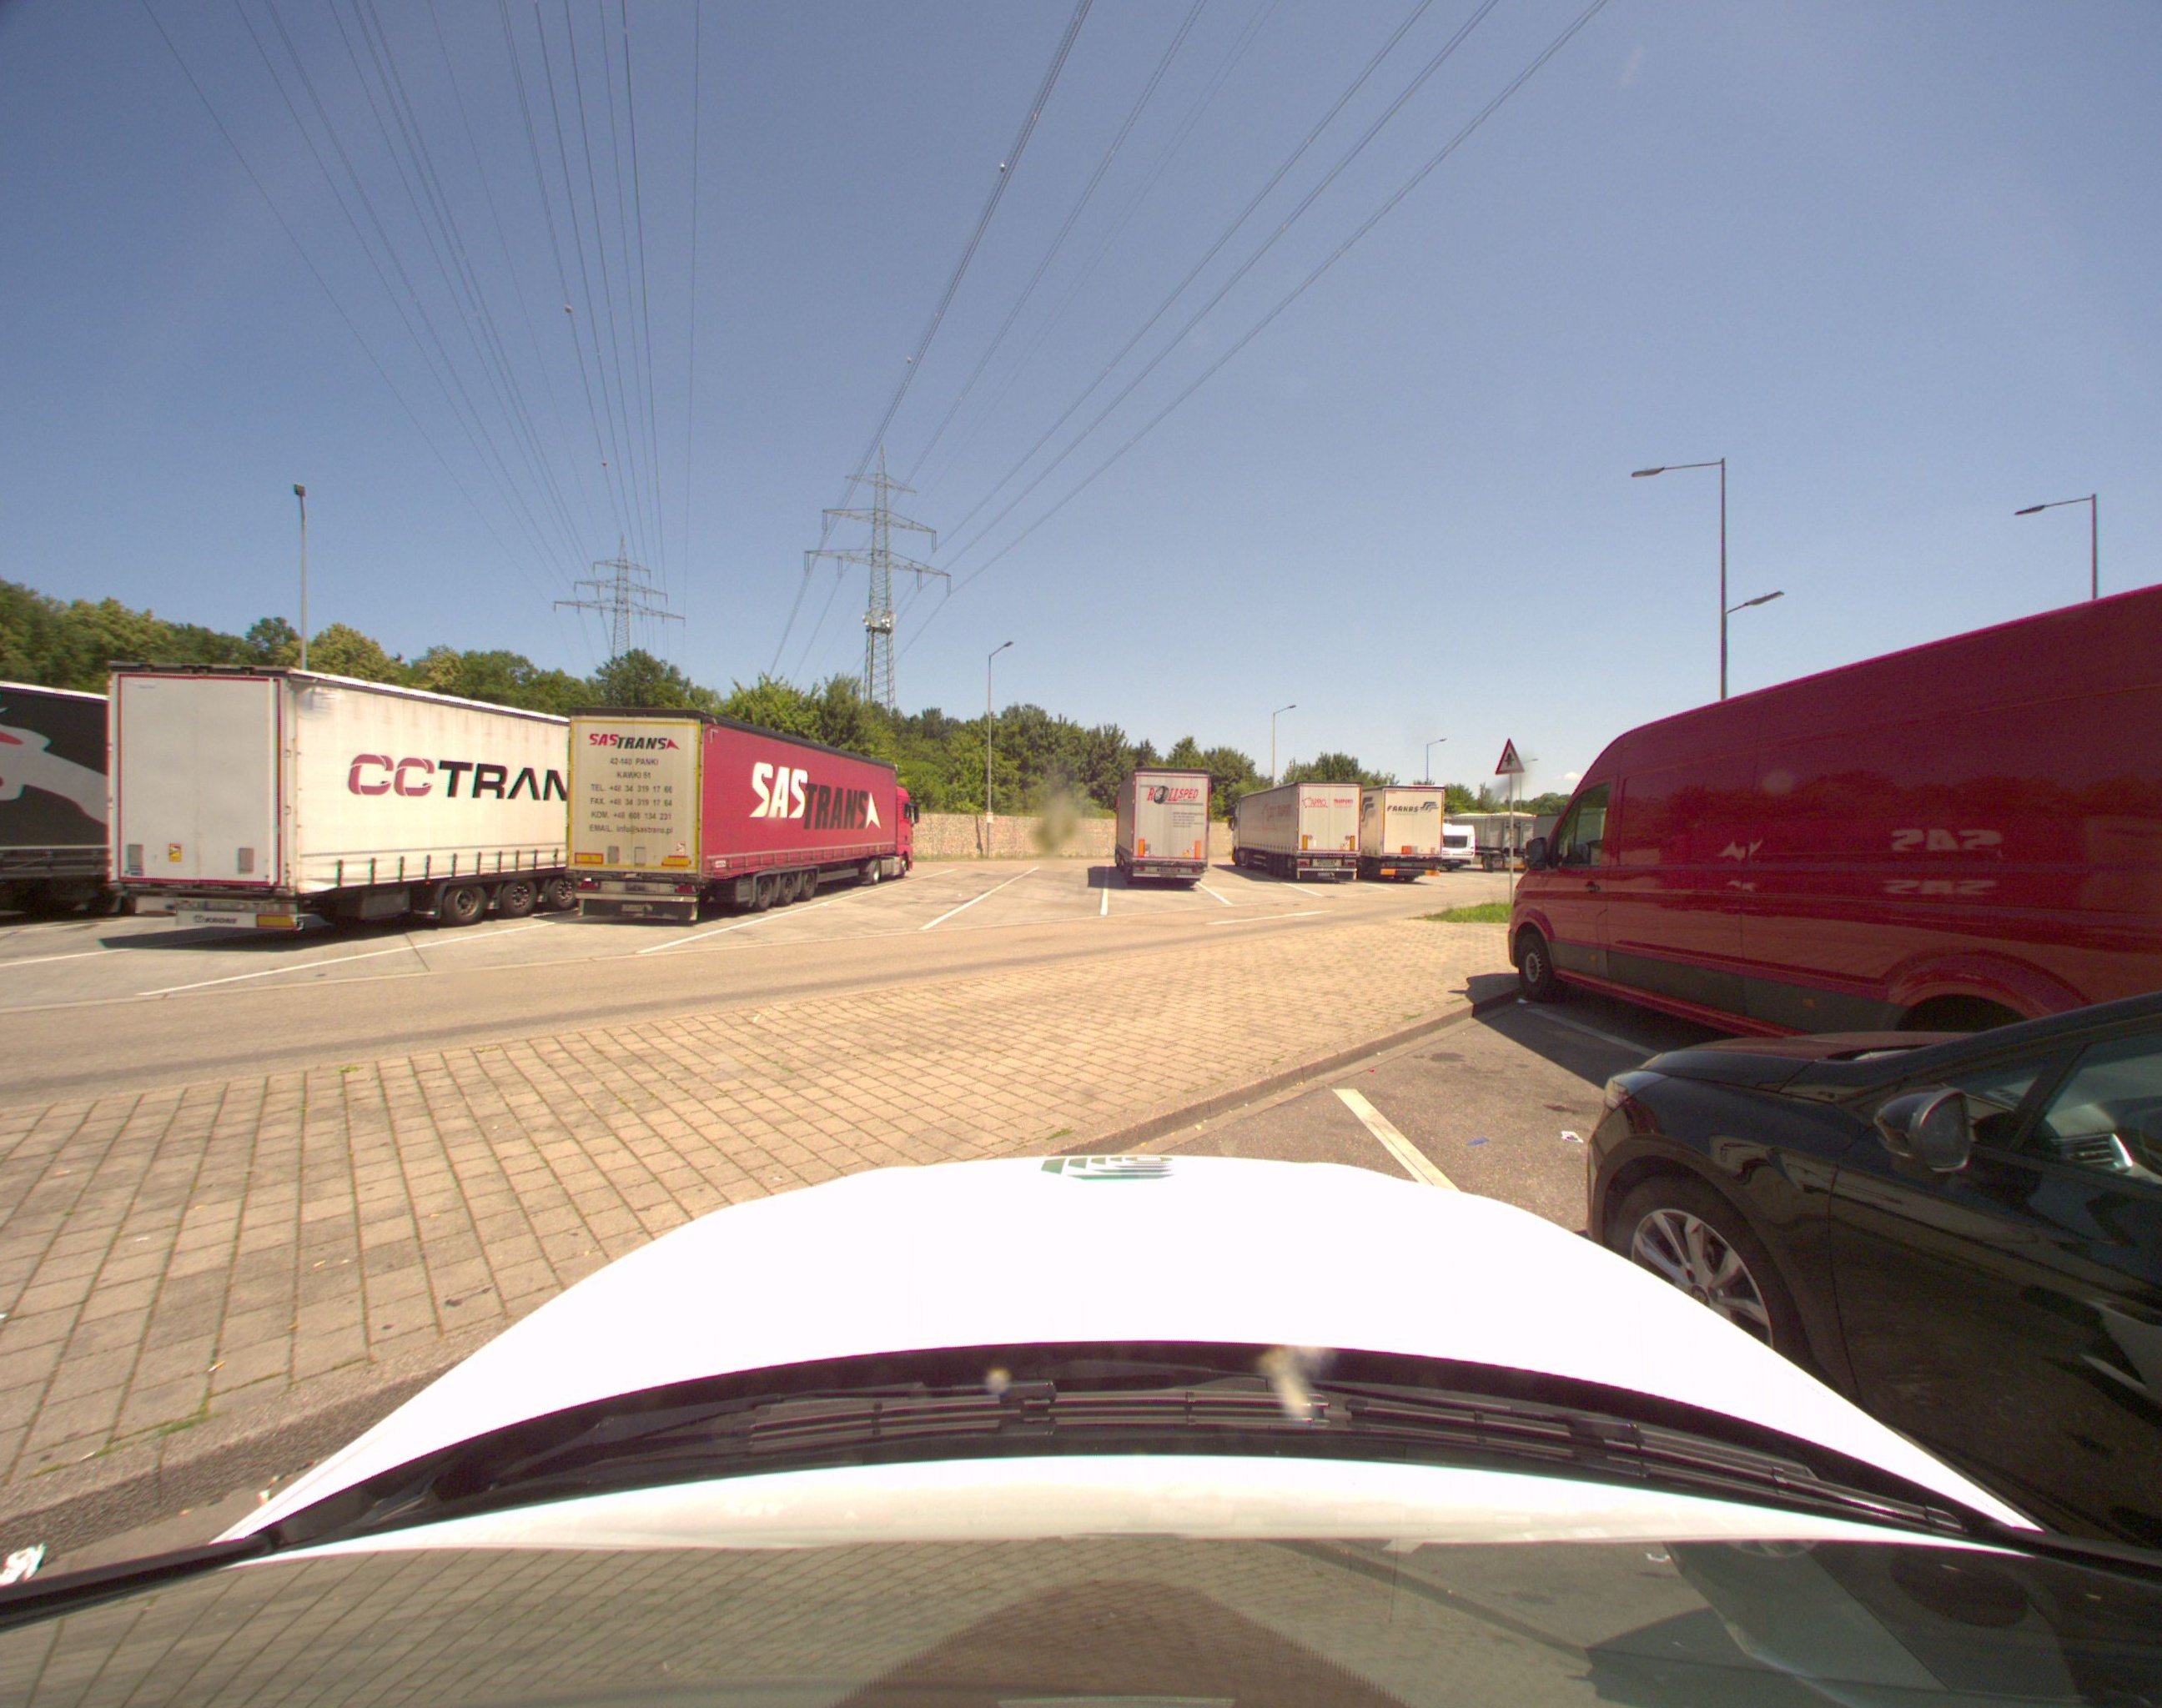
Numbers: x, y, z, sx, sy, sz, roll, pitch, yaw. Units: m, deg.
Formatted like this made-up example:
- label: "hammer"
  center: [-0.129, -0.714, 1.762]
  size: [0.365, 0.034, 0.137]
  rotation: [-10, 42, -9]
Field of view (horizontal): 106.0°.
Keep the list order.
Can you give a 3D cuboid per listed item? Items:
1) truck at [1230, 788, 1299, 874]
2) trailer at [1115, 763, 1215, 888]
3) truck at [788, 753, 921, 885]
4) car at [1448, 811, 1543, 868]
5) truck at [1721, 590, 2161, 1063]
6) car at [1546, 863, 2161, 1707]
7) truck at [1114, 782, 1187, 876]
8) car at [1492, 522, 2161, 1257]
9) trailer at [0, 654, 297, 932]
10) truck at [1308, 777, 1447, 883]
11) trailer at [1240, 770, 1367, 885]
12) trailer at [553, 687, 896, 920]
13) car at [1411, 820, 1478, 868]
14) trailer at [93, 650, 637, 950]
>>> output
- label: "truck"
  center: [10.071, -1.249, 45.216]
  size: [2.651, 4.452, 5.866]
  rotation: [-1, 1, 2]
- label: "trailer"
  center: [2.965, -1.012, 32.028]
  size: [2.887, 4.013, 11.318]
  rotation: [-1, 1, 1]
- label: "truck"
  center: [-7.754, -1.149, 28.717]
  size: [2.795, 4.133, 5.896]
  rotation: [-1, 1, 2]
- label: "car"
  center: [24.128, -0.843, 47.764]
  size: [2.490, 3.074, 6.353]
  rotation: [-1, 1, 2]
- label: "truck"
  center: [7.793, -0.162, 6.018]
  size: [2.508, 2.827, 4.821]
  rotation: [0, -1, 3]
- label: "car"
  center: [2.528, 0.749, 0.910]
  size: [1.772, 1.457, 3.681]
  rotation: [0, -1, -3]
- label: "truck"
  center: [3.085, -1.103, 37.870]
  size: [2.862, 3.980, 6.029]
  rotation: [-1, 1, 0]
- label: "car"
  center: [5.121, 0.081, 5.514]
  size: [1.984, 2.633, 6.393]
  rotation: [-1, 1, 5]
- label: "trailer"
  center: [-18.533, -0.981, 14.676]
  size: [2.668, 4.444, 6.151]
  rotation: [-1, 1, 2]
- label: "truck"
  center: [13.529, -0.927, 38.614]
  size: [2.577, 4.226, 11.974]
  rotation: [0, -1, 2]
- label: "trailer"
  center: [9.894, -1.127, 38.017]
  size: [2.672, 4.452, 12.833]
  rotation: [-1, 1, 1]
- label: "trailer"
  center: [-8.003, -1.009, 21.460]
  size: [2.789, 4.219, 13.208]
  rotation: [-1, 1, 2]
- label: "car"
  center: [20.531, -0.538, 46.141]
  size: [2.107, 2.599, 4.001]
  rotation: [0, -1, 2]
- label: "trailer"
  center: [-12.186, -0.814, 15.429]
  size: [2.744, 4.152, 8.291]
  rotation: [0, 1, 2]
